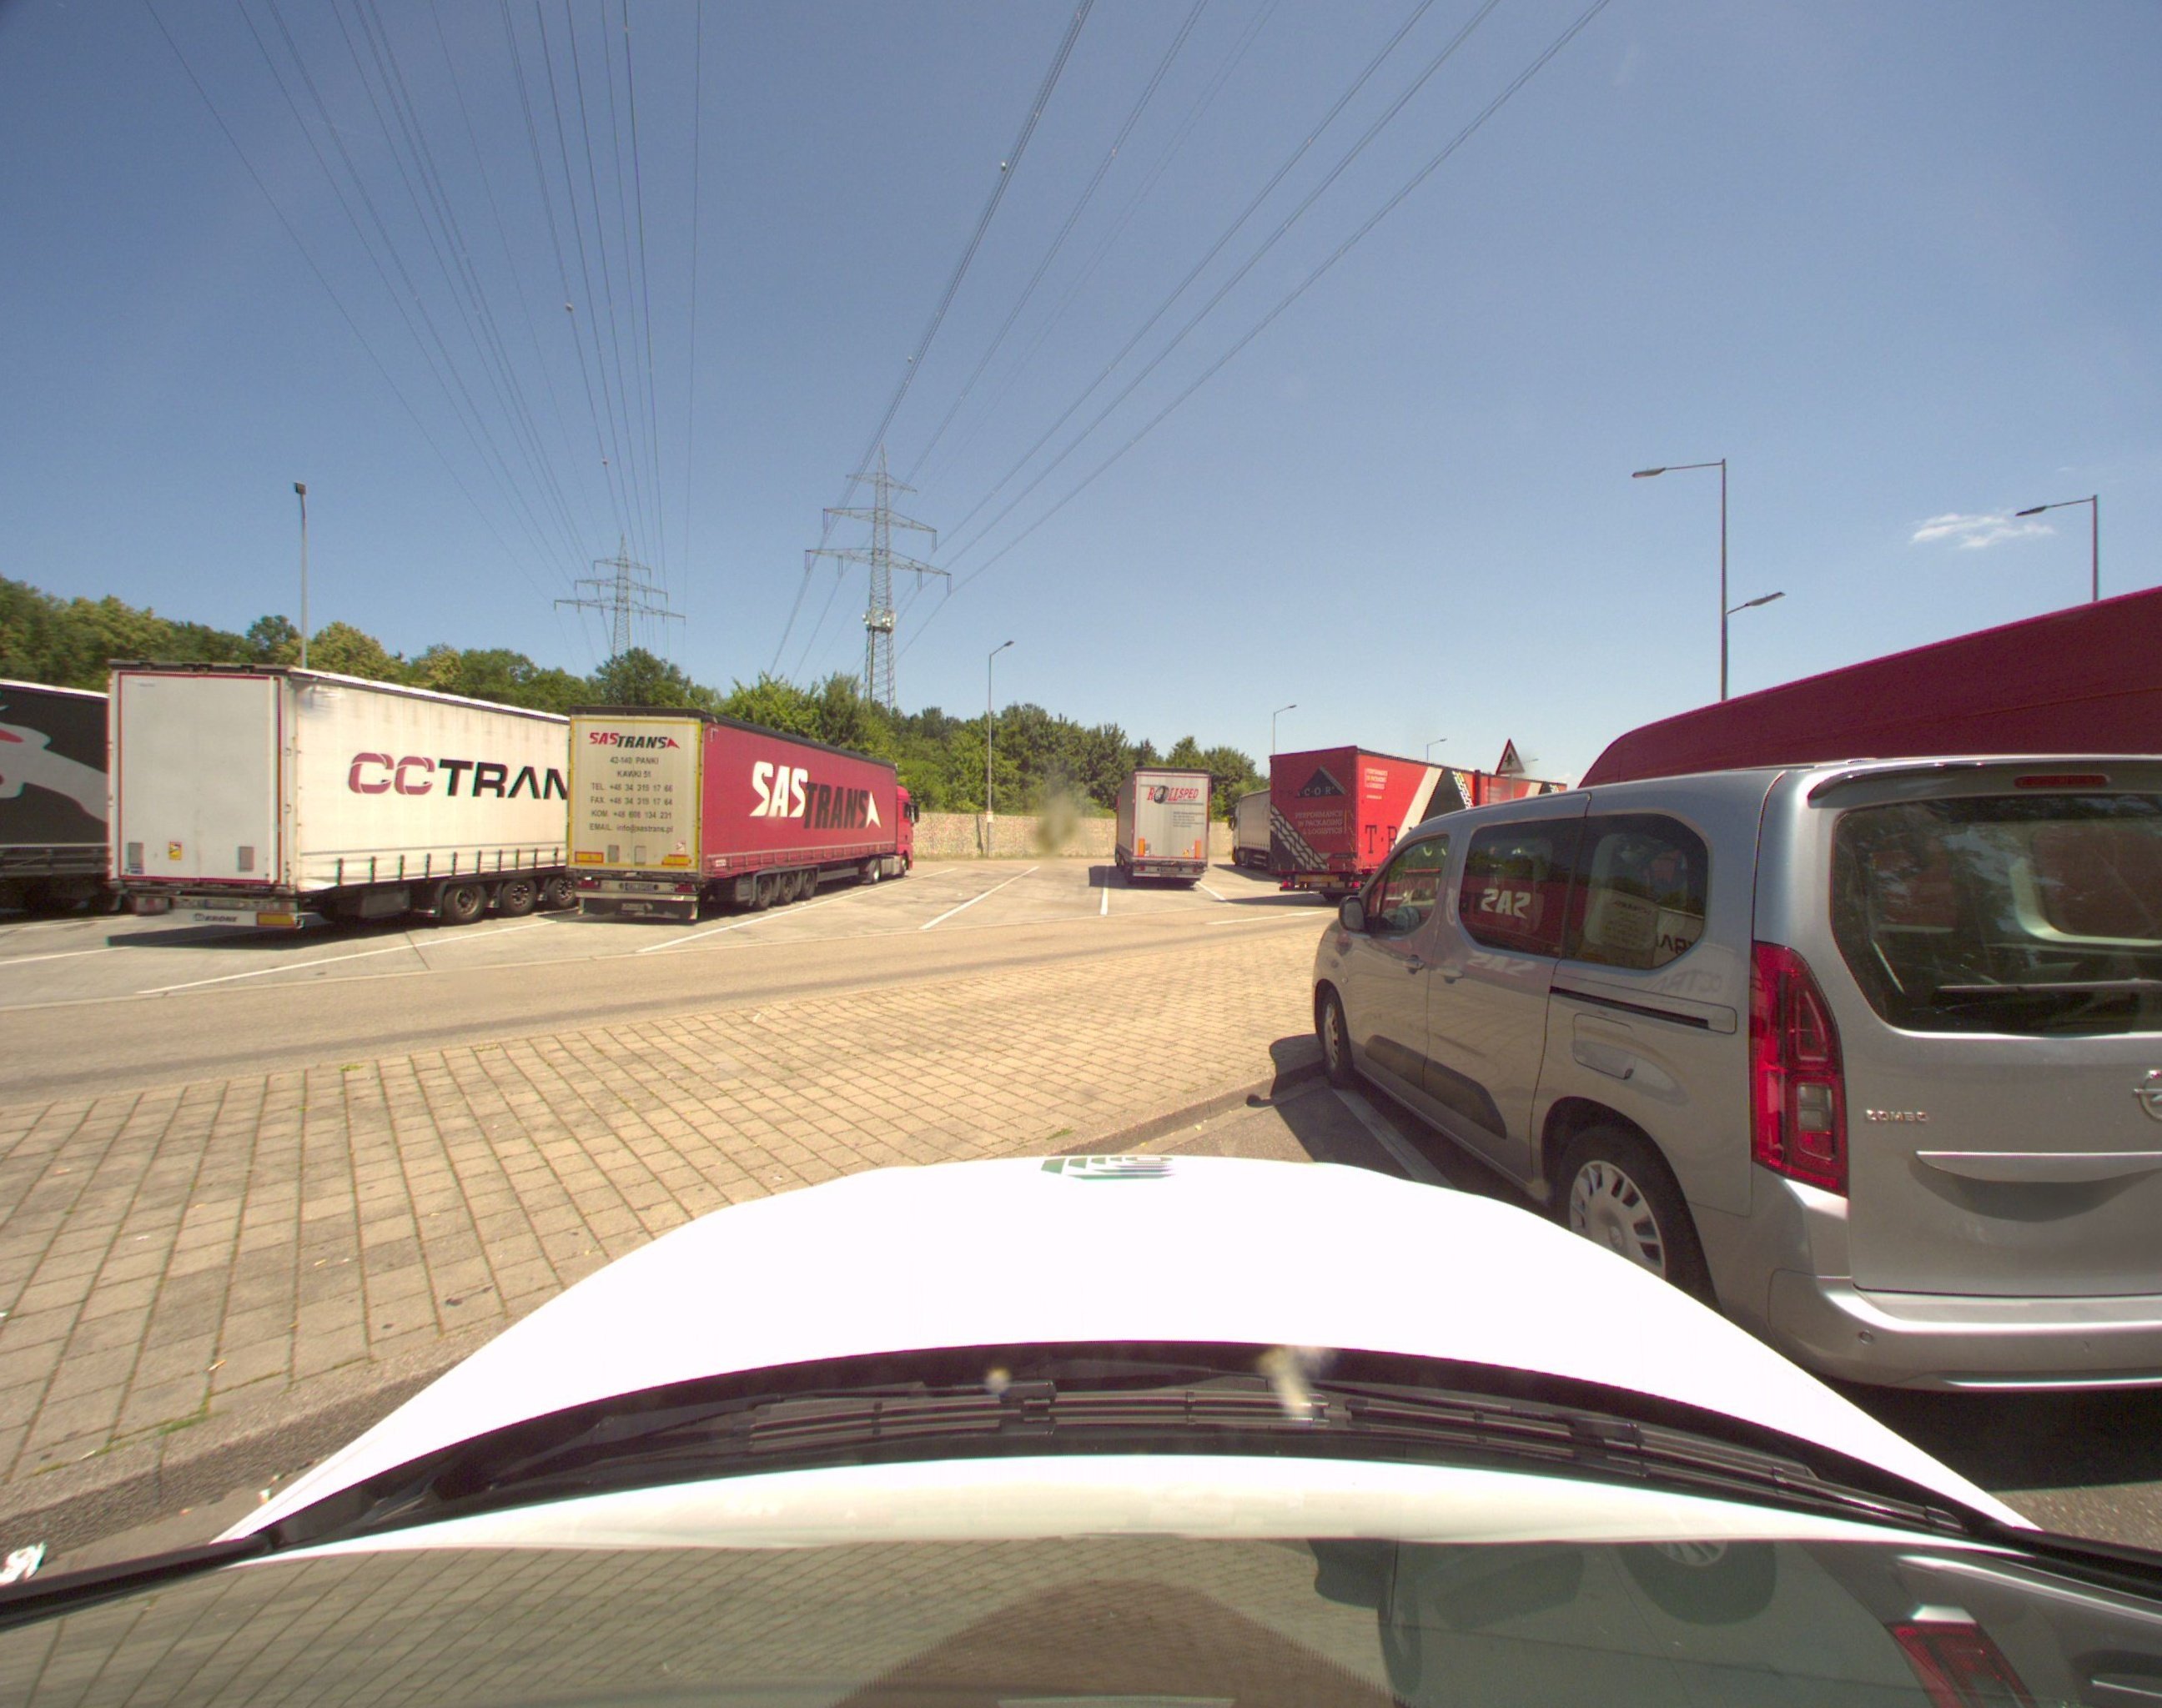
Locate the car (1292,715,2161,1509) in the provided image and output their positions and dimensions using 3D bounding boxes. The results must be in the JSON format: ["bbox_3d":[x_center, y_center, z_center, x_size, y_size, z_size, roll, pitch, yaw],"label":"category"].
[{"bbox_3d":[2.470,0.533,3.832,1.821,1.753,3.998,-1,1,-2],"label":"car"}]

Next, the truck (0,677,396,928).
[{"bbox_3d":[-18.509,-0.859,15.950,2.627,4.018,8.640,-1,1,2],"label":"truck"}]

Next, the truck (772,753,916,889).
[{"bbox_3d":[-7.835,-1.052,27.998,2.733,4.081,6.832,-1,1,2],"label":"truck"}]

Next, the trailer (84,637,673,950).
[{"bbox_3d":[-12.097,-0.897,16.055,2.734,4.263,9.740,0,1,3],"label":"trailer"}]

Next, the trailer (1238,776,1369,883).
[{"bbox_3d":[9.945,-1.064,38.390,2.865,4.124,13.577,0,1,2],"label":"trailer"}]

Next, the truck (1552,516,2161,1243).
[{"bbox_3d":[5.100,0.054,4.854,1.983,2.623,5.312,0,1,6],"label":"truck"}]

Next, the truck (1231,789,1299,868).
[{"bbox_3d":[10.134,-1.392,45.393,2.747,4.124,5.286,-1,1,2],"label":"truck"}]

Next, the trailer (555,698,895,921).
[{"bbox_3d":[-8.041,-0.920,21.576,2.739,4.057,13.292,-1,1,2],"label":"trailer"}]

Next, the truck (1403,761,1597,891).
[{"bbox_3d":[15.963,-0.986,30.450,10.661,4.127,2.662,-1,1,-41],"label":"truck"}]

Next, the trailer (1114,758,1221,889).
[{"bbox_3d":[3.050,-1.186,32.720,3.059,4.227,12.811,1,2,1],"label":"trailer"}]

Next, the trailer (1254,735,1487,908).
[{"bbox_3d":[8.835,-0.883,24.043,8.734,4.257,2.808,-1,1,-43],"label":"trailer"}]

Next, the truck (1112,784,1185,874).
[{"bbox_3d":[3.133,-1.221,39.492,3.016,3.928,6.848,1,2,1],"label":"truck"}]
